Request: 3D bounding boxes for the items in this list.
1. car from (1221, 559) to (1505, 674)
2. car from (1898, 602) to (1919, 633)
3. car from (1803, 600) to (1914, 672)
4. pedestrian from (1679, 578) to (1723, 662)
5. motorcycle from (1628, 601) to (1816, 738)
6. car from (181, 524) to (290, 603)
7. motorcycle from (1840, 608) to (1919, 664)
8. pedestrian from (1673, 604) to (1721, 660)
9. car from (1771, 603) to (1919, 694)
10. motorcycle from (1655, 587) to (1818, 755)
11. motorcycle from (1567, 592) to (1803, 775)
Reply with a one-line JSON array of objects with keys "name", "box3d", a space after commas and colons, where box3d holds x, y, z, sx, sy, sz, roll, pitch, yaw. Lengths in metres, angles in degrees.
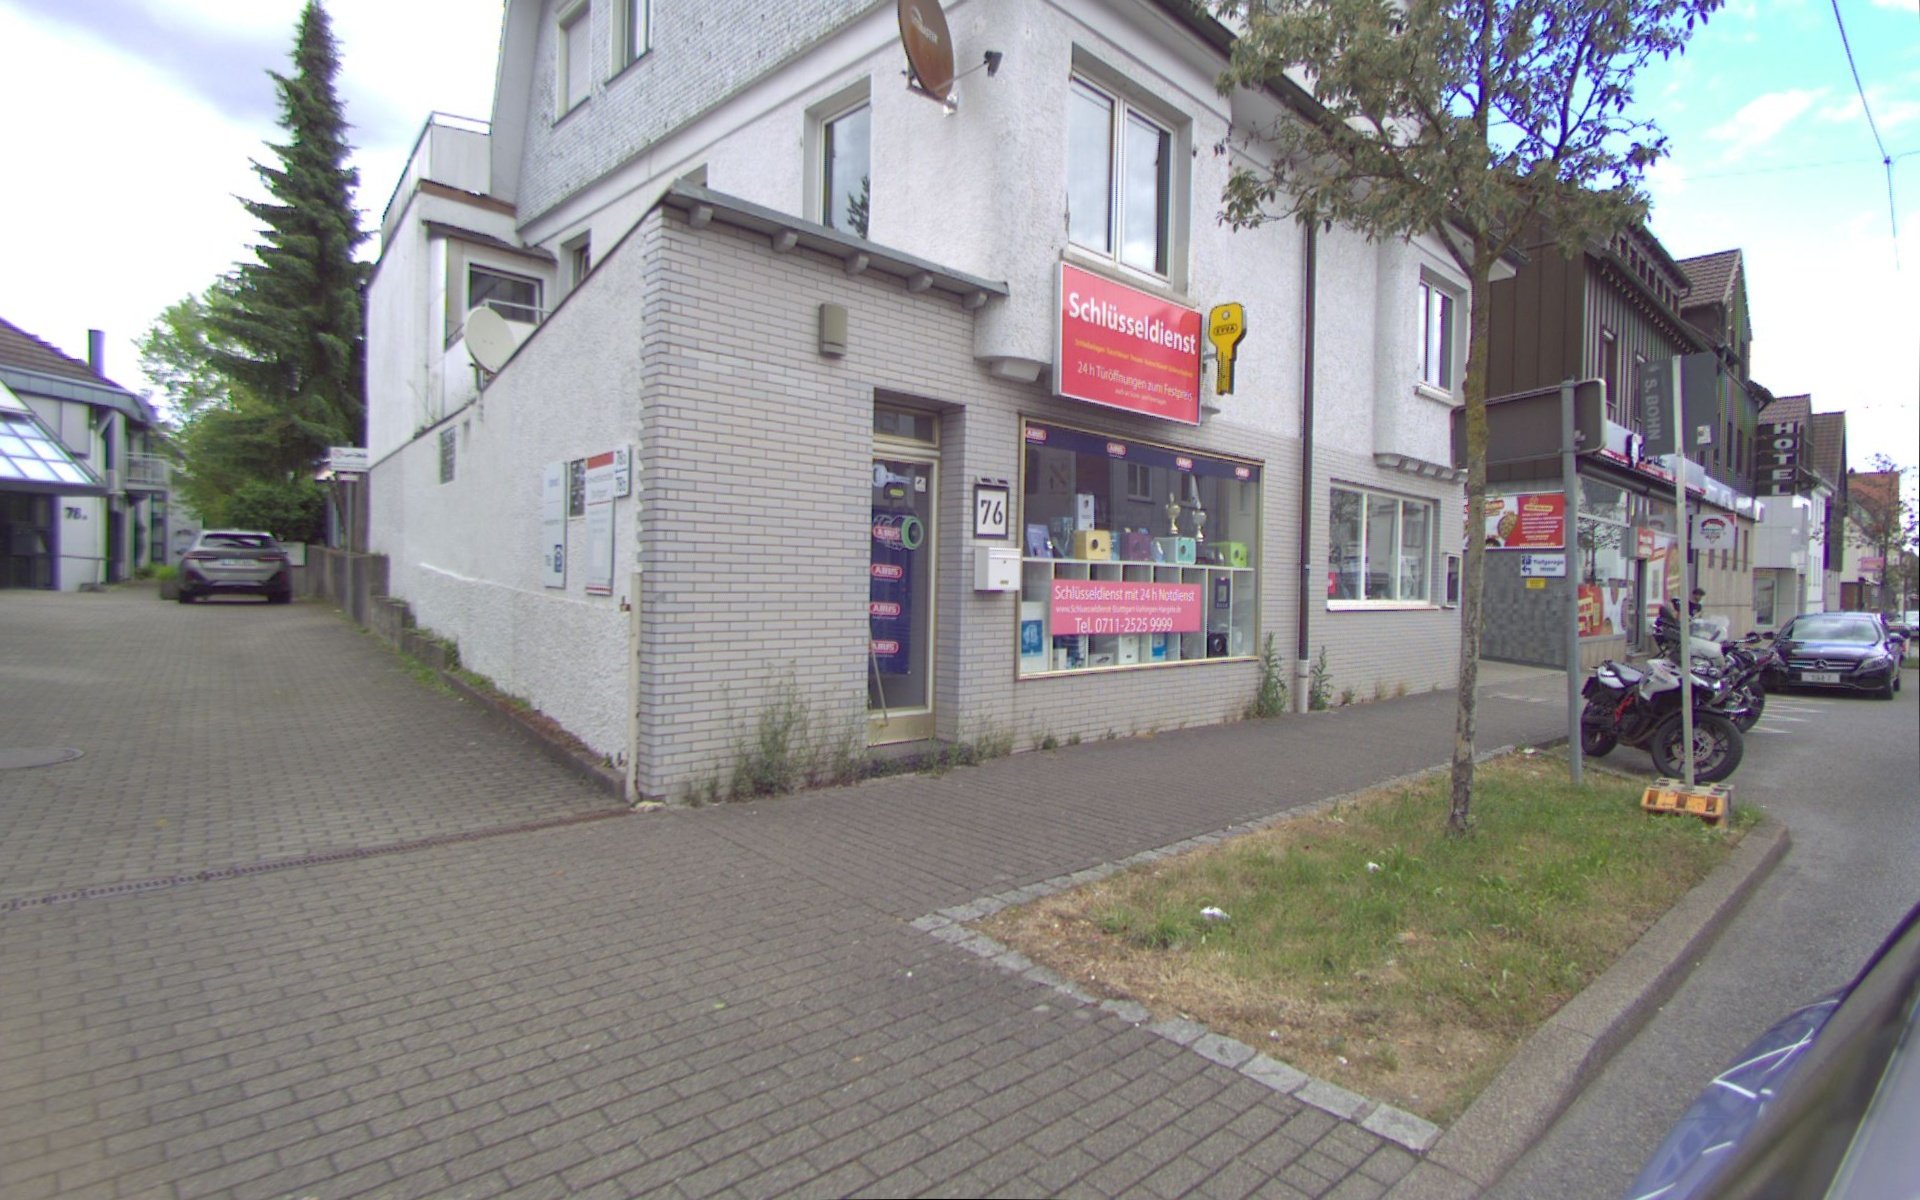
[{"name": "car", "box3d": [6.957, 0.199, 17.799, 1.824, 1.607, 4.205, 0, 4, -43]}, {"name": "car", "box3d": [45.558, 0.840, 47.632, 3.883, 1.381, 1.792, 0, 3, -44]}, {"name": "car", "box3d": [20.375, 0.751, 22.901, 3.839, 1.460, 1.641, 0, 1, -45]}, {"name": "pedestrian", "box3d": [16.057, 0.427, 21.924, 0.641, 1.762, 0.731, 3, 2, 41]}, {"name": "motorcycle", "box3d": [8.772, 0.750, 11.629, 2.418, 1.458, 0.651, 0, 0, -25]}, {"name": "car", "box3d": [-15.264, -0.777, 21.258, 1.718, 1.488, 3.999, 0, 2, -37]}, {"name": "motorcycle", "box3d": [22.387, 0.857, 24.472, 1.565, 1.308, 0.499, 1, 0, 17]}, {"name": "pedestrian", "box3d": [16.810, 0.718, 23.079, 0.633, 1.226, 0.741, 0, 2, -44]}, {"name": "car", "box3d": [16.301, 0.786, 18.493, 4.491, 1.426, 1.826, 0, 1, -45]}, {"name": "motorcycle", "box3d": [7.981, 0.652, 10.347, 2.549, 1.544, 0.672, 0, 0, -37]}, {"name": "motorcycle", "box3d": [6.297, 0.635, 8.982, 0.763, 1.399, 2.237, 1, 0, 9]}]
